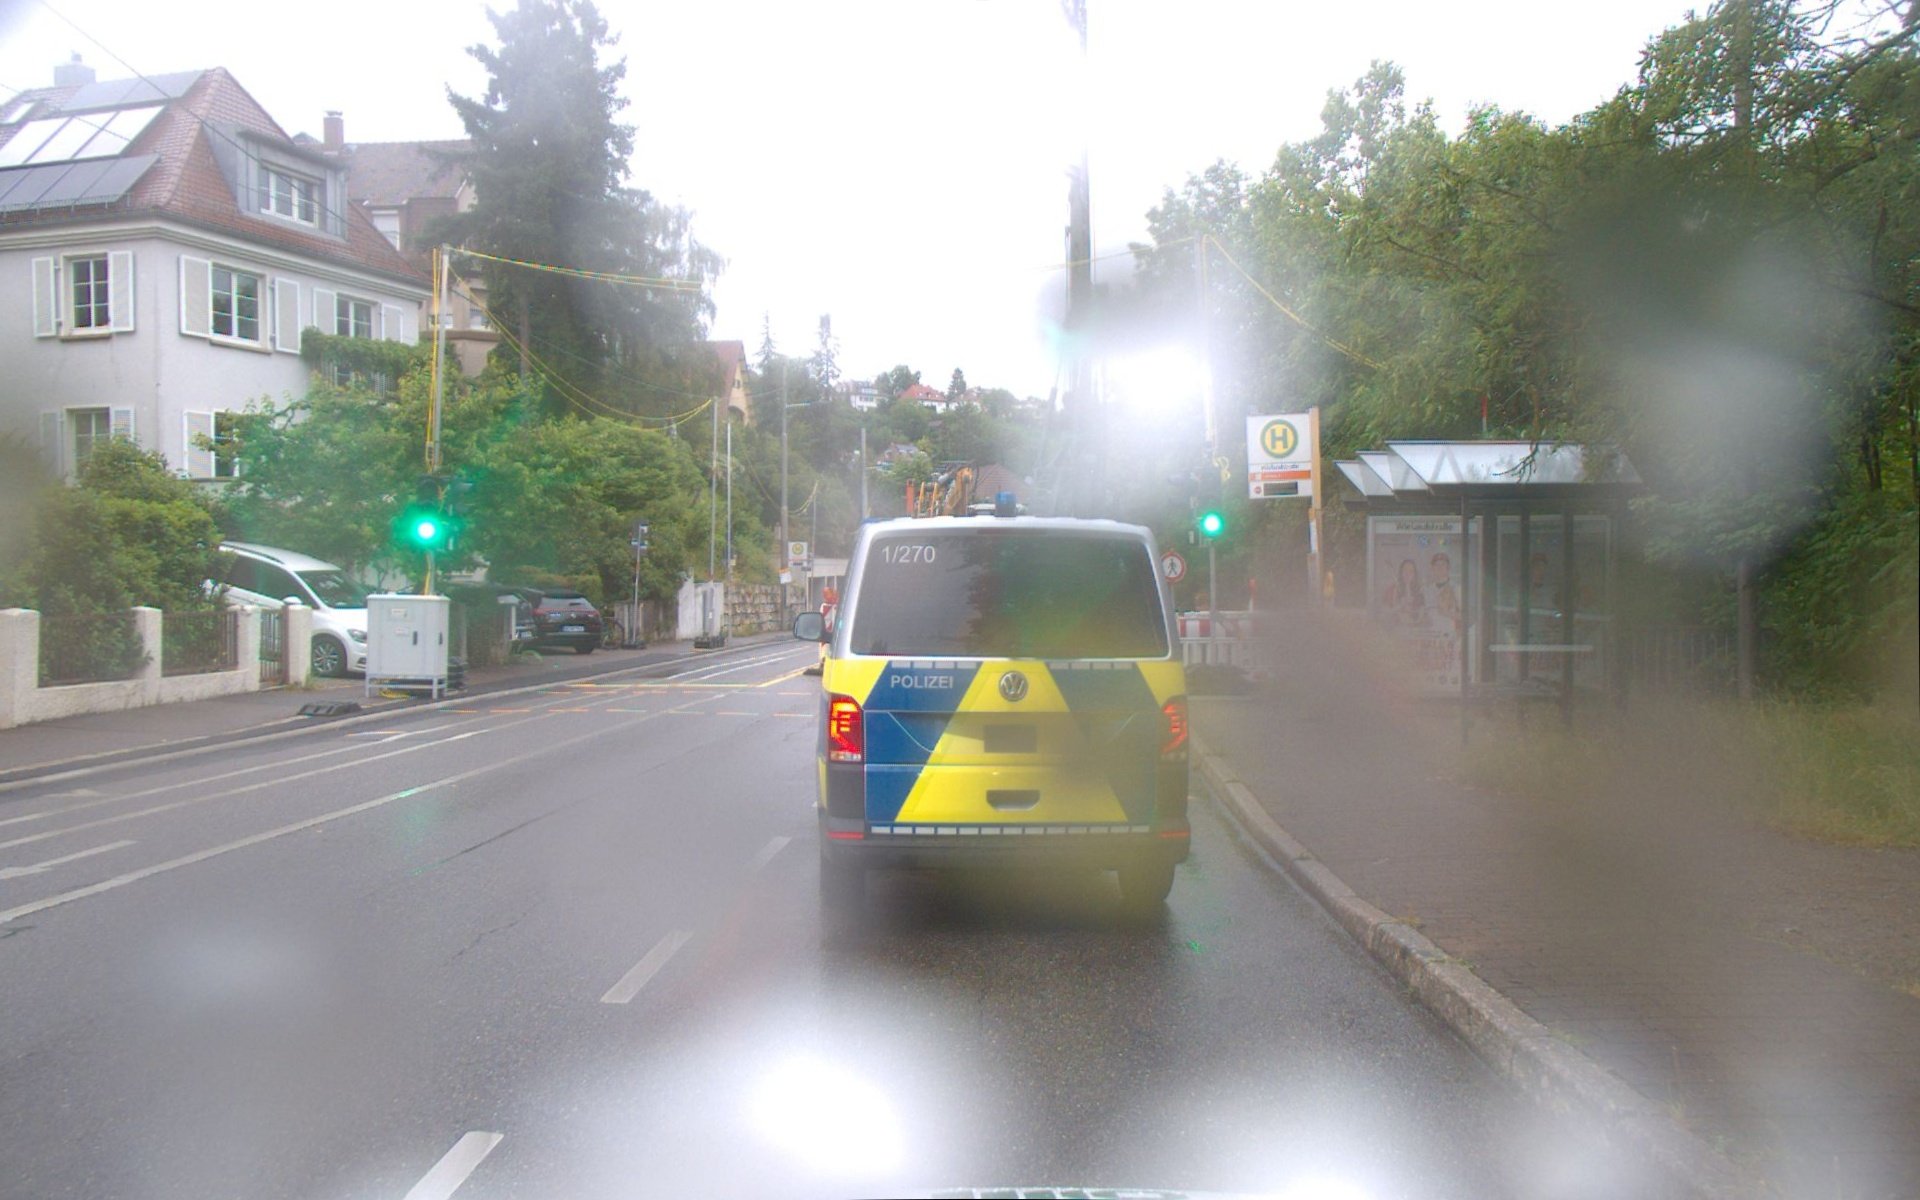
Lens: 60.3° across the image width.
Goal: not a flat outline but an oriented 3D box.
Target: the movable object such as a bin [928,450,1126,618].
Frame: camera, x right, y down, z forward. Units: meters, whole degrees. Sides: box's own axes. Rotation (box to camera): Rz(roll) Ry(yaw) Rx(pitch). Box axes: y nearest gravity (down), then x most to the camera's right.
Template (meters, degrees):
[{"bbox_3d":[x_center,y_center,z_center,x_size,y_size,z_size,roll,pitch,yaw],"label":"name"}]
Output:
[{"bbox_3d":[2.379,-2.038,55.345,3.614,5.155,7.147,-1,-1,31],"label":"movable object such as a bin"}]

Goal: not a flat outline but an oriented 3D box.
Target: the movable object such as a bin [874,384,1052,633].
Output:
[{"bbox_3d":[0.163,-1.614,30.898,2.818,4.243,4.490,-1,1,6],"label":"movable object such as a bin"}]

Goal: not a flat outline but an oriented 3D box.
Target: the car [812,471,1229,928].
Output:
[{"bbox_3d":[0.130,0.478,9.701,1.870,2.046,4.435,1,-1,-4],"label":"car"}]

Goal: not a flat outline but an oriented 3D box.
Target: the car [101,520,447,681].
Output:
[{"bbox_3d":[-11.105,-0.029,26.853,4.865,1.642,1.865,11,3,13],"label":"car"}]

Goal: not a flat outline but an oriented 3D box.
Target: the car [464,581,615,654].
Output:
[{"bbox_3d":[-9.485,0.365,37.149,1.769,1.552,3.943,2,0,-39],"label":"car"}]

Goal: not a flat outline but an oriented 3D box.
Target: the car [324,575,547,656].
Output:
[{"bbox_3d":[-10.743,0.314,33.988,3.902,1.552,1.942,1,-1,12],"label":"car"}]
